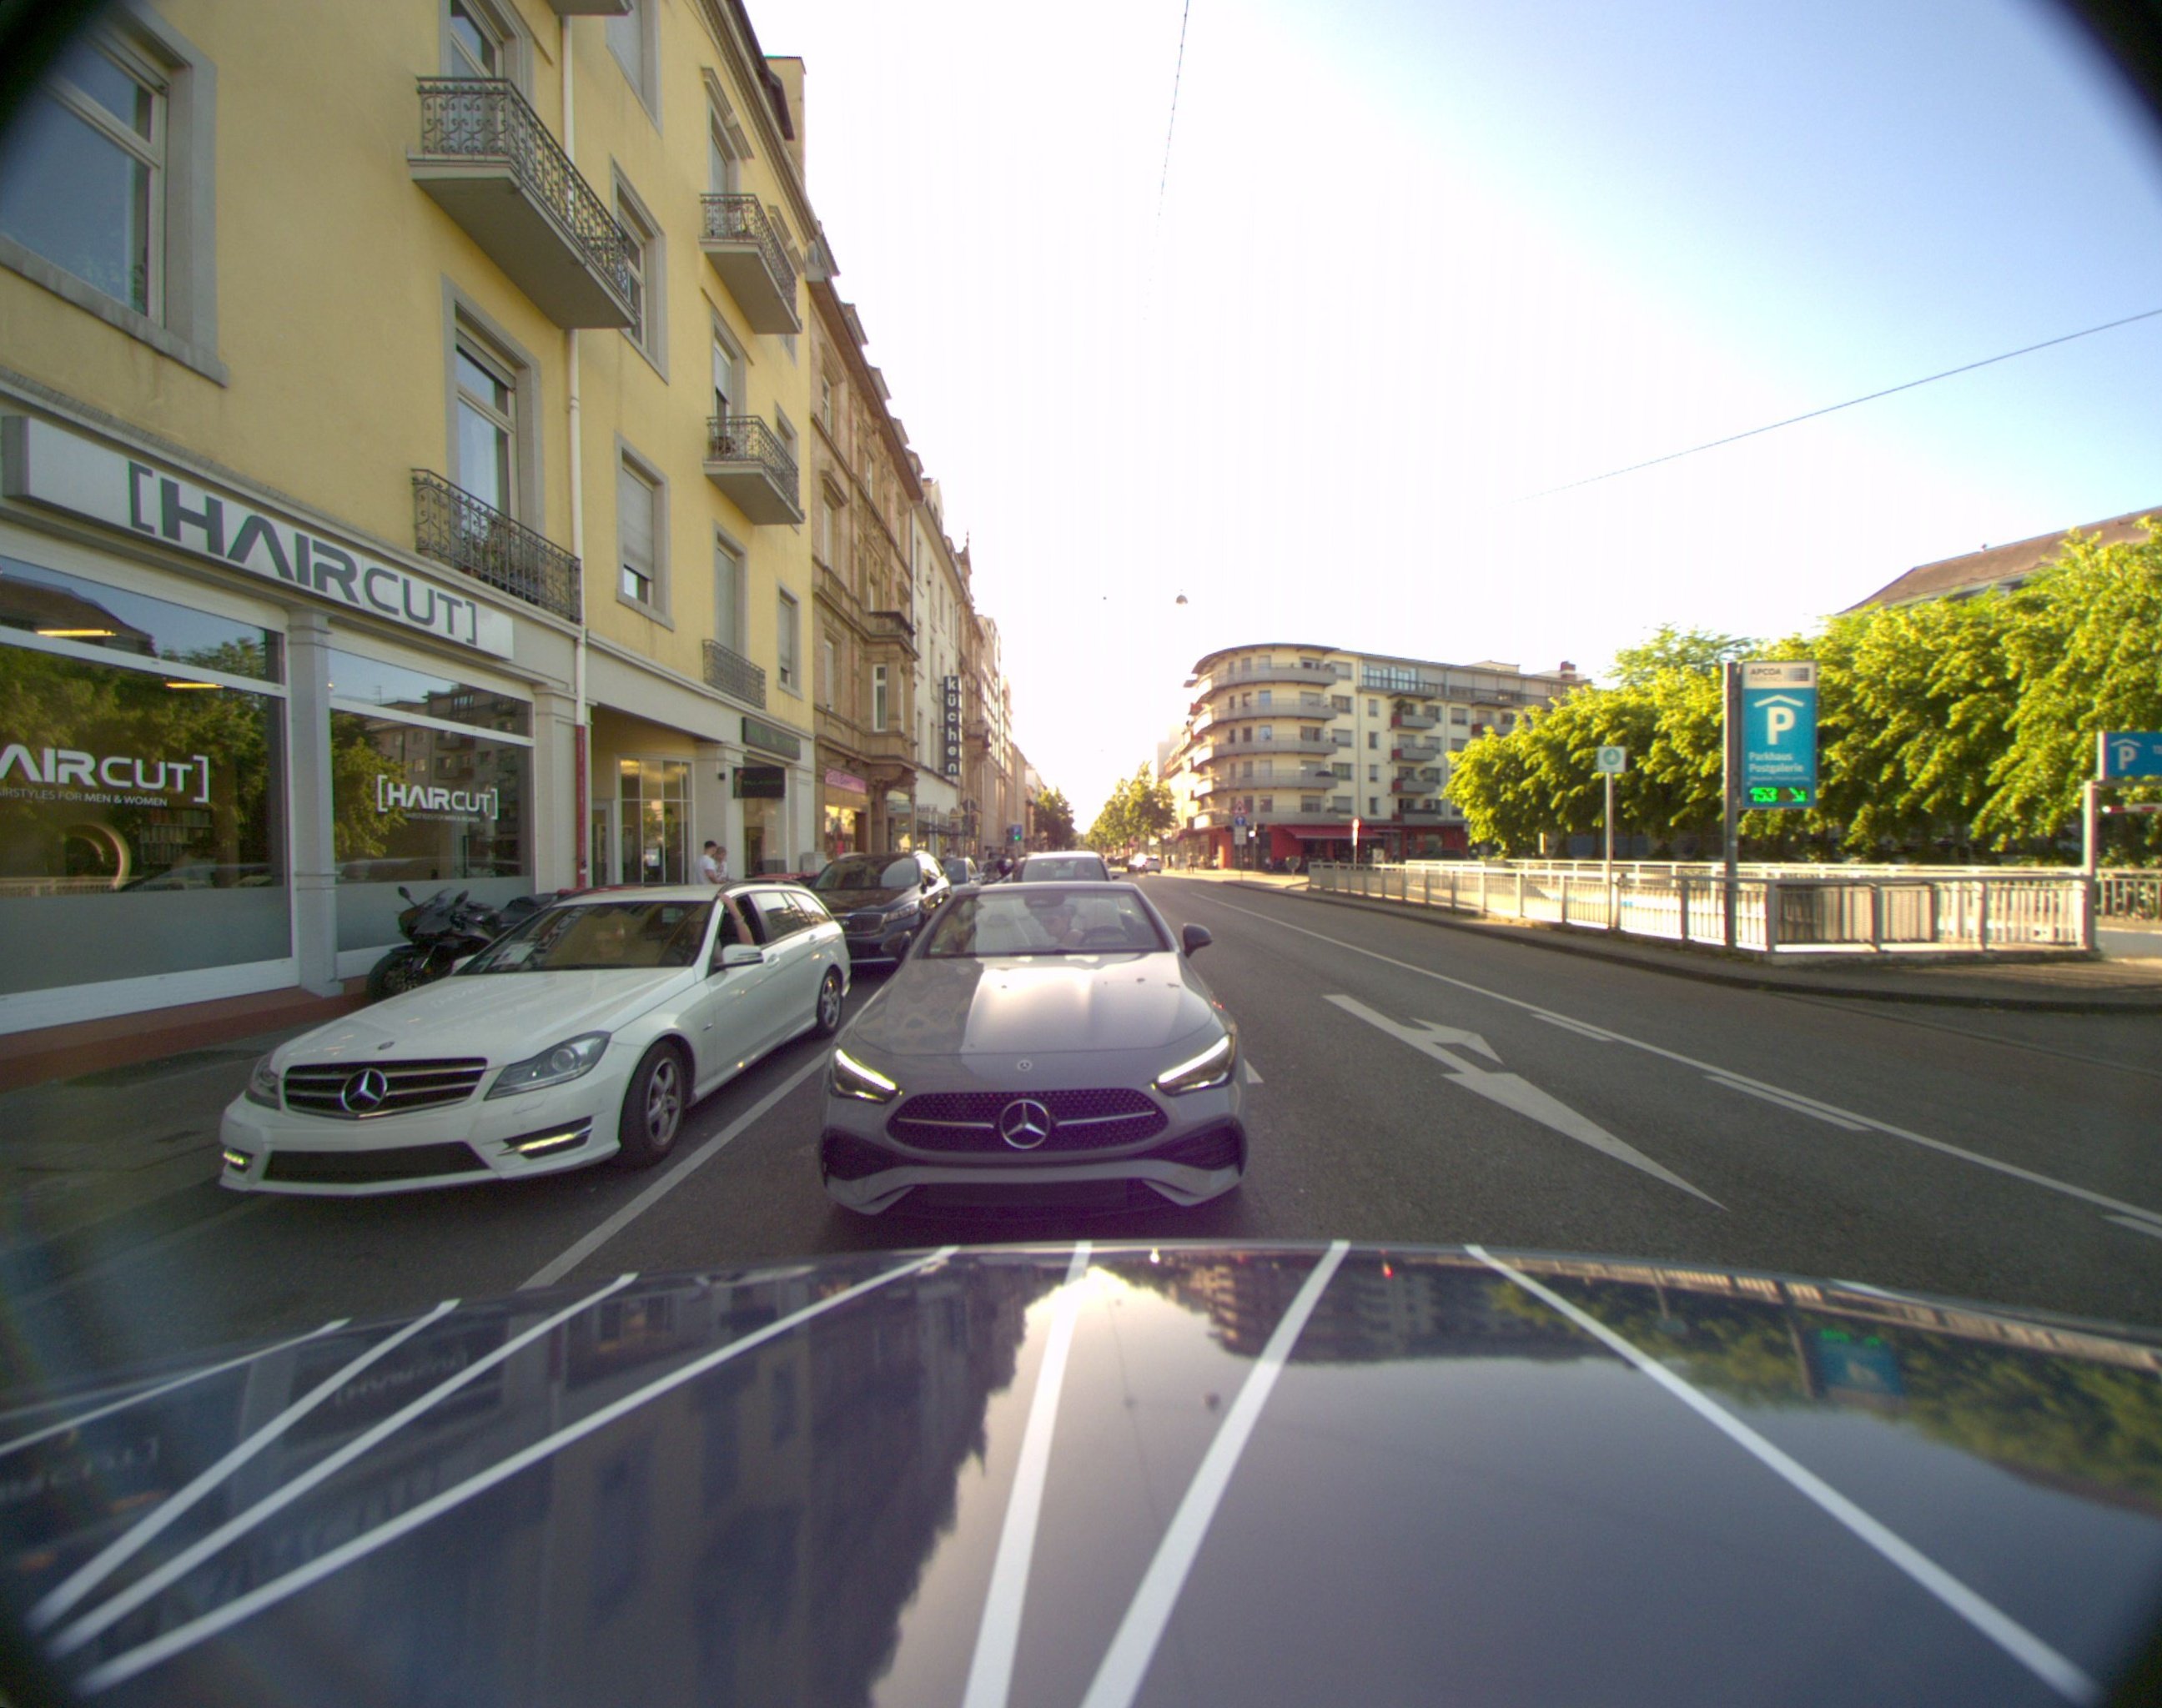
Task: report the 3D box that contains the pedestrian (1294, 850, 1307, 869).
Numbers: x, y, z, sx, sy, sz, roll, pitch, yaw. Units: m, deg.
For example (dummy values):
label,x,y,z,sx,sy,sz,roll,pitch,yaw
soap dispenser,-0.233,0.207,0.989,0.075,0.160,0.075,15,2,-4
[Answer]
label,x,y,z,sx,sy,sz,roll,pitch,yaw
pedestrian,17.695,0.440,61.157,0.583,1.453,0.790,-2,1,-37

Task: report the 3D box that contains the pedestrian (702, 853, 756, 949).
label,x,y,z,sx,sy,sz,roll,pitch,yaw
pedestrian,-6.095,0.798,13.187,0.572,1.607,0.643,-1,1,2

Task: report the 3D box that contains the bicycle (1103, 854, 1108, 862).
label,x,y,z,sx,sy,sz,roll,pitch,yaw
bicycle,3.618,0.549,112.464,0.661,1.083,1.971,-1,0,1

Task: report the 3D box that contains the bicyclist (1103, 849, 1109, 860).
label,x,y,z,sx,sy,sz,roll,pitch,yaw
bicyclist,3.672,0.075,112.473,0.758,1.651,1.143,-2,1,1

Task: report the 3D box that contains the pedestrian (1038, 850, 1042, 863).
label,x,y,z,sx,sy,sz,roll,pitch,yaw
pedestrian,-5.955,0.342,110.593,0.527,1.875,0.569,-1,1,0

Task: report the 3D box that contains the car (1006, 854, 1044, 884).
label,x,y,z,sx,sy,sz,roll,pitch,yaw
car,-2.978,0.760,41.002,1.715,1.477,3.999,-1,0,0

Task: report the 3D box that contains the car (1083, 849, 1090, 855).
label,x,y,z,sx,sy,sz,roll,pitch,yaw
car,1.719,-0.596,243.885,1.998,1.805,4.000,-1,0,1

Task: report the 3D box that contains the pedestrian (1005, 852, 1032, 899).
label,x,y,z,sx,sy,sz,roll,pitch,yaw
pedestrian,-2.253,0.766,27.267,0.692,1.657,0.835,-1,1,14

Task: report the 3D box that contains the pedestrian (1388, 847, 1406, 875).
label,x,y,z,sx,sy,sz,roll,pitch,yaw
pedestrian,20.944,0.463,50.351,0.755,1.795,0.756,-2,1,-15

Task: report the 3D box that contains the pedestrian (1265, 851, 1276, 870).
label,x,y,z,sx,sy,sz,roll,pitch,yaw
pedestrian,15.058,0.500,60.274,0.791,1.452,0.583,-1,1,10

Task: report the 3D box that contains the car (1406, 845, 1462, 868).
label,x,y,z,sx,sy,sz,roll,pitch,yaw
car,29.039,0.175,62.454,4.004,1.740,1.996,-2,1,-23

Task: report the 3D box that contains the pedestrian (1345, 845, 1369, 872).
label,x,y,z,sx,sy,sz,roll,pitch,yaw
pedestrian,21.500,0.352,59.199,1.234,2.002,1.259,-2,1,-21

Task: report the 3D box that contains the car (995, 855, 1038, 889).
label,x,y,z,sx,sy,sz,roll,pitch,yaw
car,-3.046,0.810,36.484,1.715,1.477,3.999,-1,0,0

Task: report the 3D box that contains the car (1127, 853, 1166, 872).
label,x,y,z,sx,sy,sz,roll,pitch,yaw
car,5.292,0.664,61.886,1.804,1.426,4.246,-2,0,-14

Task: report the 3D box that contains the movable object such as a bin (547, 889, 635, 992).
label,x,y,z,sx,sy,sz,roll,pitch,yaw
movable object such as a bin,-6.105,1.058,9.492,0.647,1.200,0.644,-1,1,1

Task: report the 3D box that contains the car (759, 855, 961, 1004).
label,x,y,z,sx,sy,sz,roll,pitch,yaw
car,-2.966,0.888,11.308,1.858,1.688,4.697,-1,0,-4

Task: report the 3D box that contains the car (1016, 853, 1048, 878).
label,x,y,z,sx,sy,sz,roll,pitch,yaw
car,-3.020,0.689,47.597,1.715,1.477,4.062,-1,0,0

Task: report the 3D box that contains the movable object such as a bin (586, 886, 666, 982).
label,x,y,z,sx,sy,sz,roll,pitch,yaw
movable object such as a bin,-6.055,1.049,10.143,0.647,1.200,0.644,-1,1,1

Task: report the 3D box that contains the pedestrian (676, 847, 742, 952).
label,x,y,z,sx,sy,sz,roll,pitch,yaw
pedestrian,-5.865,0.696,12.007,0.642,1.607,0.701,-1,1,-1

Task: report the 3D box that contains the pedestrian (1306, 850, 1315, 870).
label,x,y,z,sx,sy,sz,roll,pitch,yaw
pedestrian,17.955,0.462,59.502,0.581,1.481,0.793,-1,1,13

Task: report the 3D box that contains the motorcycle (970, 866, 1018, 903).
label,x,y,z,sx,sy,sz,roll,pitch,yaw
motorcycle,-3.053,1.044,26.791,0.769,1.225,1.546,-1,1,42

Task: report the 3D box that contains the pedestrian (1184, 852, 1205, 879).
label,x,y,z,sx,sy,sz,roll,pitch,yaw
pedestrian,8.737,0.877,58.548,1.018,2.002,1.202,-1,1,42

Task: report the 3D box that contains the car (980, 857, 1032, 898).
label,x,y,z,sx,sy,sz,roll,pitch,yaw
car,-2.962,0.898,30.732,1.715,1.477,3.999,-1,0,0

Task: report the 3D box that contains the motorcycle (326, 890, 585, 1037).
label,x,y,z,sx,sy,sz,roll,pitch,yaw
motorcycle,-6.258,1.018,7.830,0.773,1.158,2.247,1,0,1

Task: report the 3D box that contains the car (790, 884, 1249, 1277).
label,x,y,z,sx,sy,sz,roll,pitch,yaw
car,-0.268,1.022,5.266,1.849,1.371,4.255,-2,0,-1

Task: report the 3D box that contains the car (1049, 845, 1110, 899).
label,x,y,z,sx,sy,sz,roll,pitch,yaw
car,-0.022,0.591,27.224,1.952,1.742,4.000,-1,0,1

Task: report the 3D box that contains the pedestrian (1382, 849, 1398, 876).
label,x,y,z,sx,sy,sz,roll,pitch,yaw
pedestrian,20.410,0.556,50.167,0.674,1.696,0.699,-2,1,-7

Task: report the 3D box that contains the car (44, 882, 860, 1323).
label,x,y,z,sx,sy,sz,roll,pitch,yaw
car,-3.070,1.040,5.214,1.759,1.453,4.597,-1,0,0

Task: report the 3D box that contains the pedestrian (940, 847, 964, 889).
label,x,y,z,sx,sy,sz,roll,pitch,yaw
pedestrian,-5.087,0.555,29.957,0.795,1.607,0.763,-1,1,-1

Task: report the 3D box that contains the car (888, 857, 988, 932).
label,x,y,z,sx,sy,sz,roll,pitch,yaw
car,-3.270,0.890,17.927,1.696,1.559,3.018,-1,0,1

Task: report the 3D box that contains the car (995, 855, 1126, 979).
label,x,y,z,sx,sy,sz,roll,pitch,yaw
car,-0.247,0.846,12.181,1.716,1.599,4.000,-1,0,1

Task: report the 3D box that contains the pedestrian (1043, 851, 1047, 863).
label,x,y,z,sx,sy,sz,roll,pitch,yaw
pedestrian,-5.235,0.382,110.492,0.467,1.769,0.569,-1,1,-2
